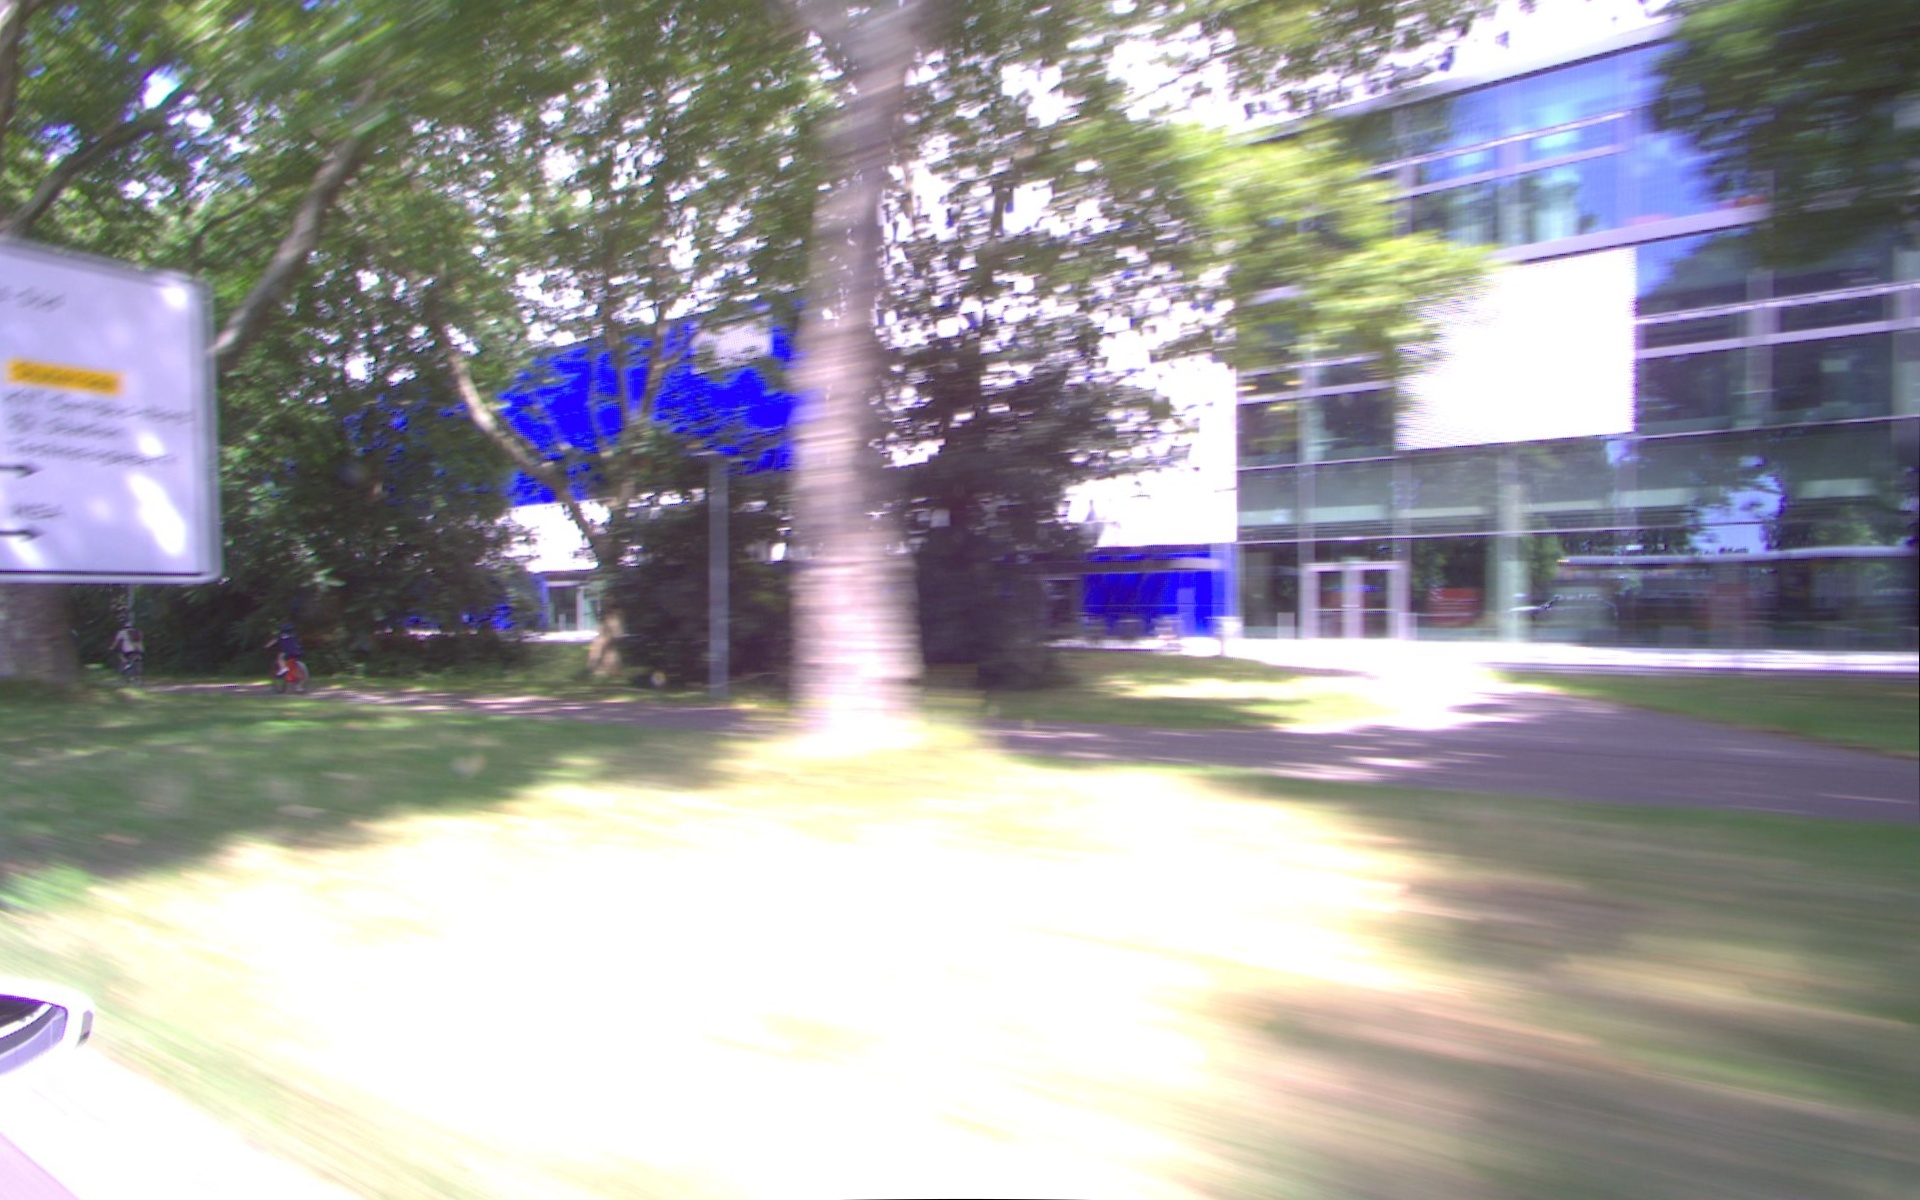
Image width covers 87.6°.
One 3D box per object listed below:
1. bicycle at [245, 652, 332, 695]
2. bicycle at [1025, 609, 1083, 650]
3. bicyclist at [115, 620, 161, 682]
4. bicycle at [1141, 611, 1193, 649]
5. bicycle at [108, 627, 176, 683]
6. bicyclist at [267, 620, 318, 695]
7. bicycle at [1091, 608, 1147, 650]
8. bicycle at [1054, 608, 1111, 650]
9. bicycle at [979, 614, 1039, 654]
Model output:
[{"bbox_3d":[-15.043,1.631,22.414,1.989,0.898,0.645,-1,0,23],"label":"bicycle"},{"bbox_3d":[2.734,0.822,28.820,0.747,1.125,2.543,-1,0,28],"label":"bicycle"},{"bbox_3d":[-21.982,1.343,26.766,1.038,1.620,0.657,-1,0,33],"label":"bicyclist"},{"bbox_3d":[5.642,0.807,27.194,0.747,0.973,2.314,-1,-1,28],"label":"bicycle"},{"bbox_3d":[-21.824,1.439,26.688,2.624,1.438,0.609,-1,0,33],"label":"bicycle"},{"bbox_3d":[-14.903,1.262,22.358,0.803,1.631,0.623,0,0,24],"label":"bicyclist"},{"bbox_3d":[4.470,0.781,27.950,0.747,1.125,2.543,-1,0,28],"label":"bicycle"},{"bbox_3d":[3.494,0.800,28.350,0.747,1.125,2.543,-1,0,28],"label":"bicycle"},{"bbox_3d":[1.475,0.984,29.579,0.747,1.125,2.543,-1,-1,28],"label":"bicycle"}]
